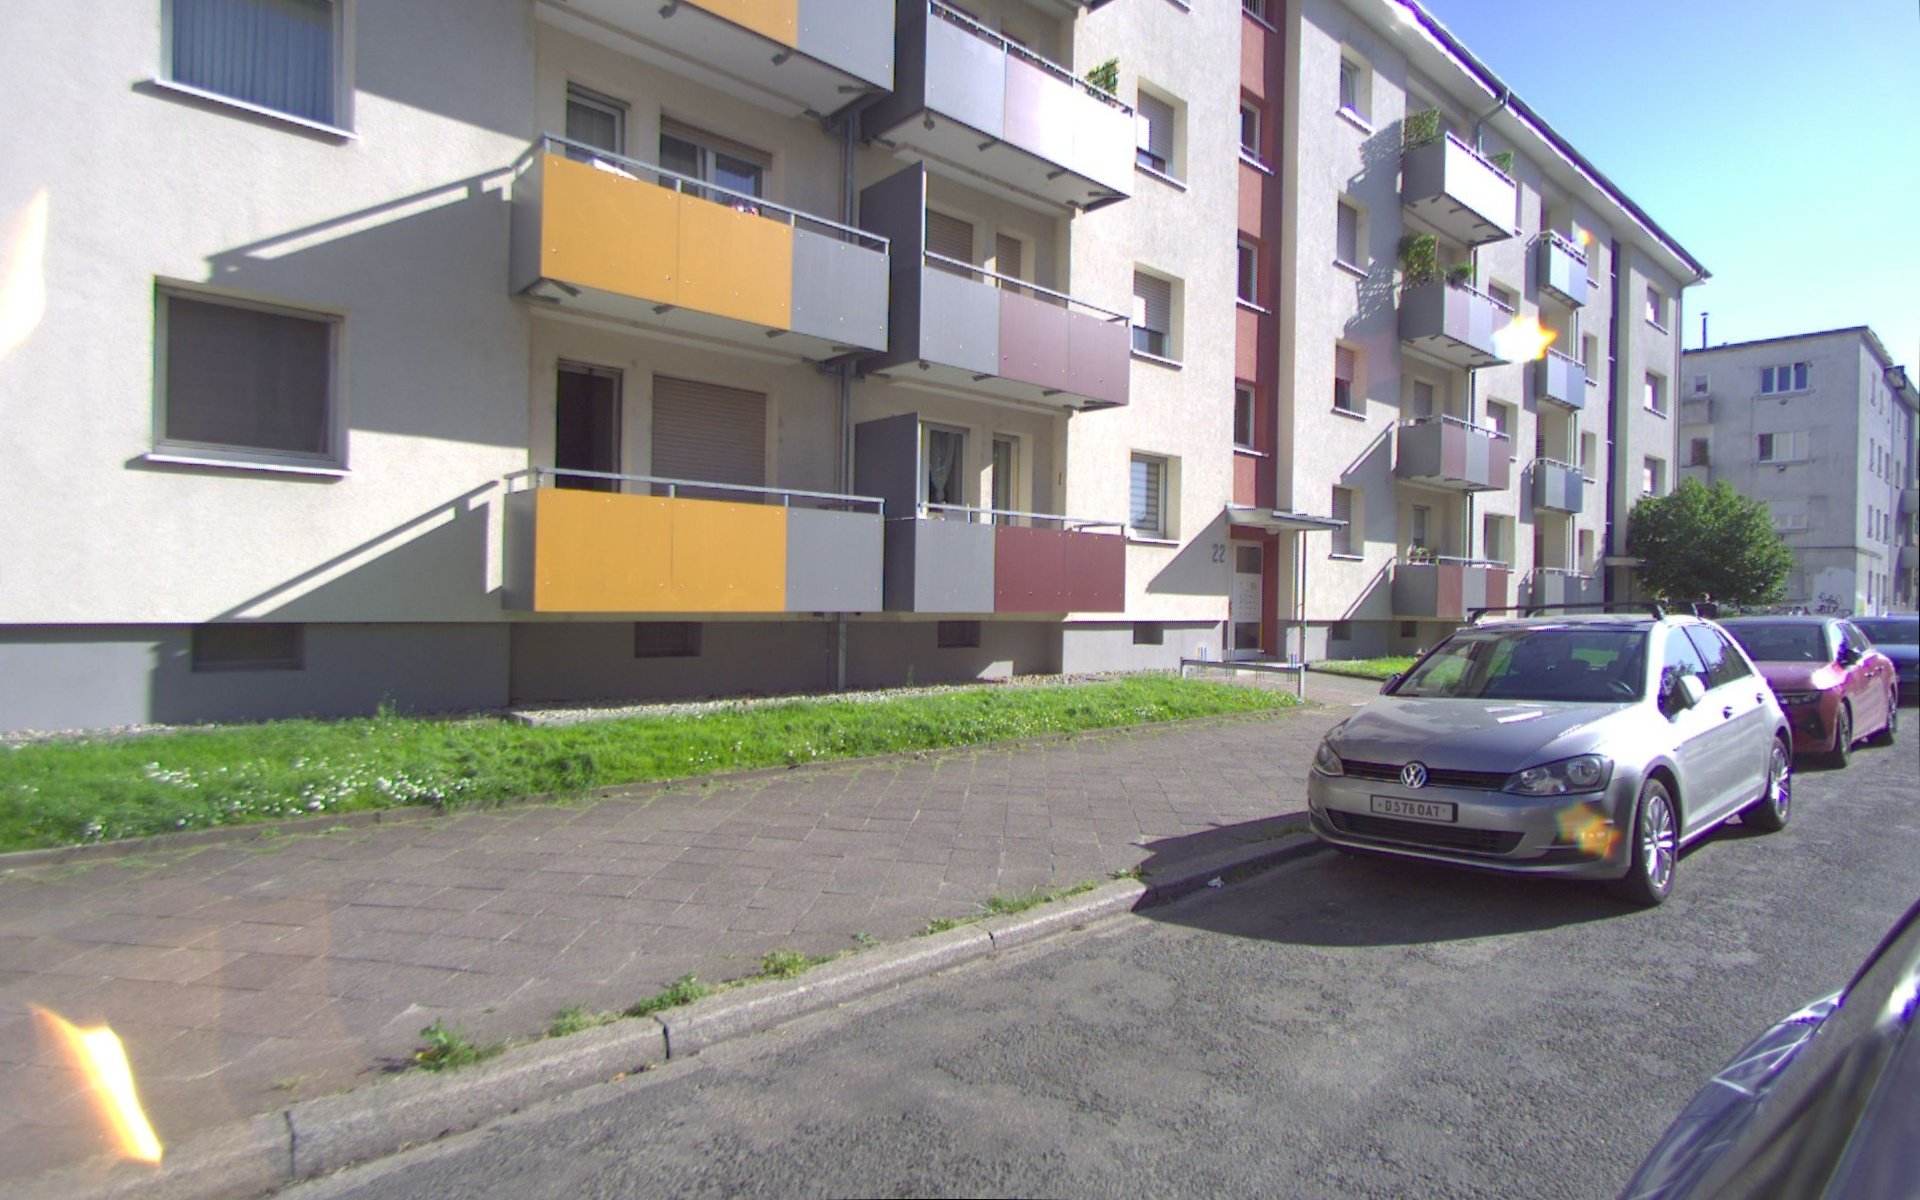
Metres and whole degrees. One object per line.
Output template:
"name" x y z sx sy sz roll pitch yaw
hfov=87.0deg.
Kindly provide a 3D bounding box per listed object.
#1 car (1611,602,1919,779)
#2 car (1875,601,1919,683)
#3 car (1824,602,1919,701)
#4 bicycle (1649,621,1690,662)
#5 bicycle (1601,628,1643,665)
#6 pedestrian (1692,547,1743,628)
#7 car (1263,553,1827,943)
"car" 8.831 0.820 10.911 4.442 1.462 1.756 1 1 -40
"car" 20.383 0.858 21.007 4.184 1.578 1.754 1 1 -44
"car" 16.131 0.831 17.218 4.012 1.499 1.754 1 1 -44
"bicycle" 19.312 1.113 27.533 2.246 1.024 0.485 1 2 -45
"bicycle" 18.628 1.288 28.447 2.246 0.972 0.485 1 2 -45
"pedestrian" 17.144 -0.286 22.897 0.825 1.793 0.647 1 1 -35
"car" 3.999 0.648 6.520 4.524 1.642 1.901 1 -1 -43
